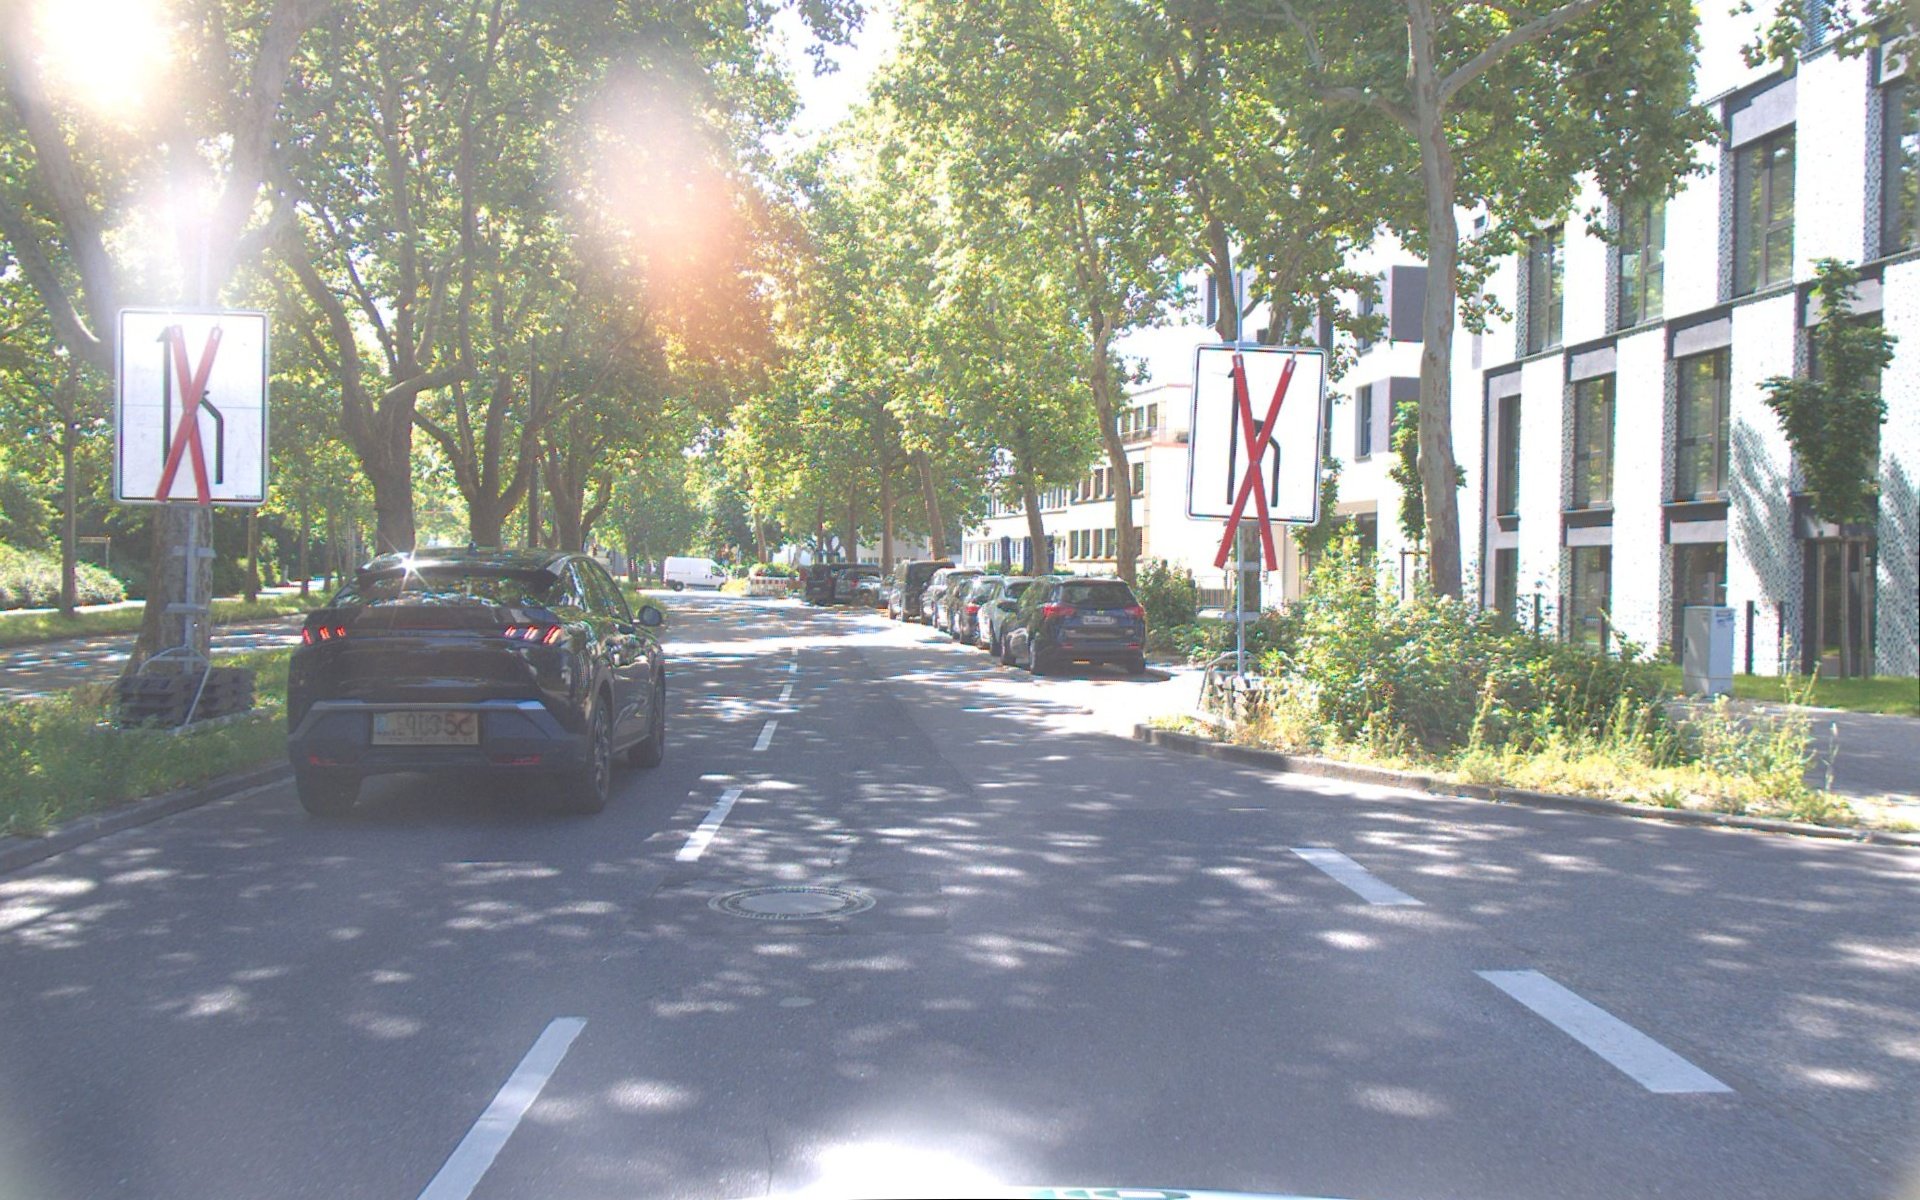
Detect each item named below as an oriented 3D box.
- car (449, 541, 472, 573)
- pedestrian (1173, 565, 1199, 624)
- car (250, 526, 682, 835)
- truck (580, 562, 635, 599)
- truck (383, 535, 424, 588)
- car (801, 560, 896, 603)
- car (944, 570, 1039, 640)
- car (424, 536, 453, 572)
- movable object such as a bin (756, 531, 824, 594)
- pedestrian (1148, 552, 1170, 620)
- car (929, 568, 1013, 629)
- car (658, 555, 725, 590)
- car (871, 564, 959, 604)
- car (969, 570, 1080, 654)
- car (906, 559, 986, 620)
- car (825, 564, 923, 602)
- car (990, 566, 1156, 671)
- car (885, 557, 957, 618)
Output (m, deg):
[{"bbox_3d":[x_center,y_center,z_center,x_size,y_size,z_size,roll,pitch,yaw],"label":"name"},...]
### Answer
[{"bbox_3d":[-54.881,-4.671,181.884,2.023,3.494,6.745,0,1,-14],"label":"car"},{"bbox_3d":[6.154,-0.151,45.054,0.601,1.608,0.569,0,0,-6],"label":"pedestrian"},{"bbox_3d":[-3.148,0.412,11.533,1.834,1.726,4.434,0,1,-2],"label":"car"},{"bbox_3d":[-36.165,-2.023,169.985,5.428,3.742,1.995,0,1,-11],"label":"truck"},{"bbox_3d":[-39.068,-2.760,116.288,2.412,3.509,7.065,2,1,-17],"label":"truck"},{"bbox_3d":[-5.122,-0.847,76.039,4.051,1.912,1.769,0,1,-27],"label":"car"},{"bbox_3d":[0.646,0.066,37.145,1.673,1.480,4.651,0,1,-5],"label":"car"},{"bbox_3d":[-53.469,-4.740,169.641,2.410,3.509,7.070,2,1,-15],"label":"car"},{"bbox_3d":[-9.077,-1.995,88.120,2.308,3.297,3.389,0,1,-35],"label":"movable object such as a bin"},{"bbox_3d":[5.392,-0.384,44.878,0.466,1.839,0.636,0,0,-6],"label":"pedestrian"},{"bbox_3d":[0.230,-0.069,43.581,1.674,1.513,4.478,0,1,-7],"label":"car"},{"bbox_3d":[-20.227,-2.073,124.549,4.896,2.586,1.993,0,1,-13],"label":"car"},{"bbox_3d":[-1.934,-0.682,70.164,3.490,1.668,1.654,0,1,-13],"label":"car"},{"bbox_3d":[1.196,0.184,32.292,1.673,1.513,4.097,0,1,-5],"label":"car"},{"bbox_3d":[-0.466,-0.333,48.752,1.675,1.698,4.524,0,1,-10],"label":"car"},{"bbox_3d":[-3.865,-0.756,74.407,4.049,1.661,1.699,0,1,-26],"label":"car"},{"bbox_3d":[1.697,0.226,26.533,1.675,1.513,4.710,-1,1,-9],"label":"car"},{"bbox_3d":[-1.311,-0.435,53.559,1.675,1.873,4.716,0,1,-10],"label":"car"}]
